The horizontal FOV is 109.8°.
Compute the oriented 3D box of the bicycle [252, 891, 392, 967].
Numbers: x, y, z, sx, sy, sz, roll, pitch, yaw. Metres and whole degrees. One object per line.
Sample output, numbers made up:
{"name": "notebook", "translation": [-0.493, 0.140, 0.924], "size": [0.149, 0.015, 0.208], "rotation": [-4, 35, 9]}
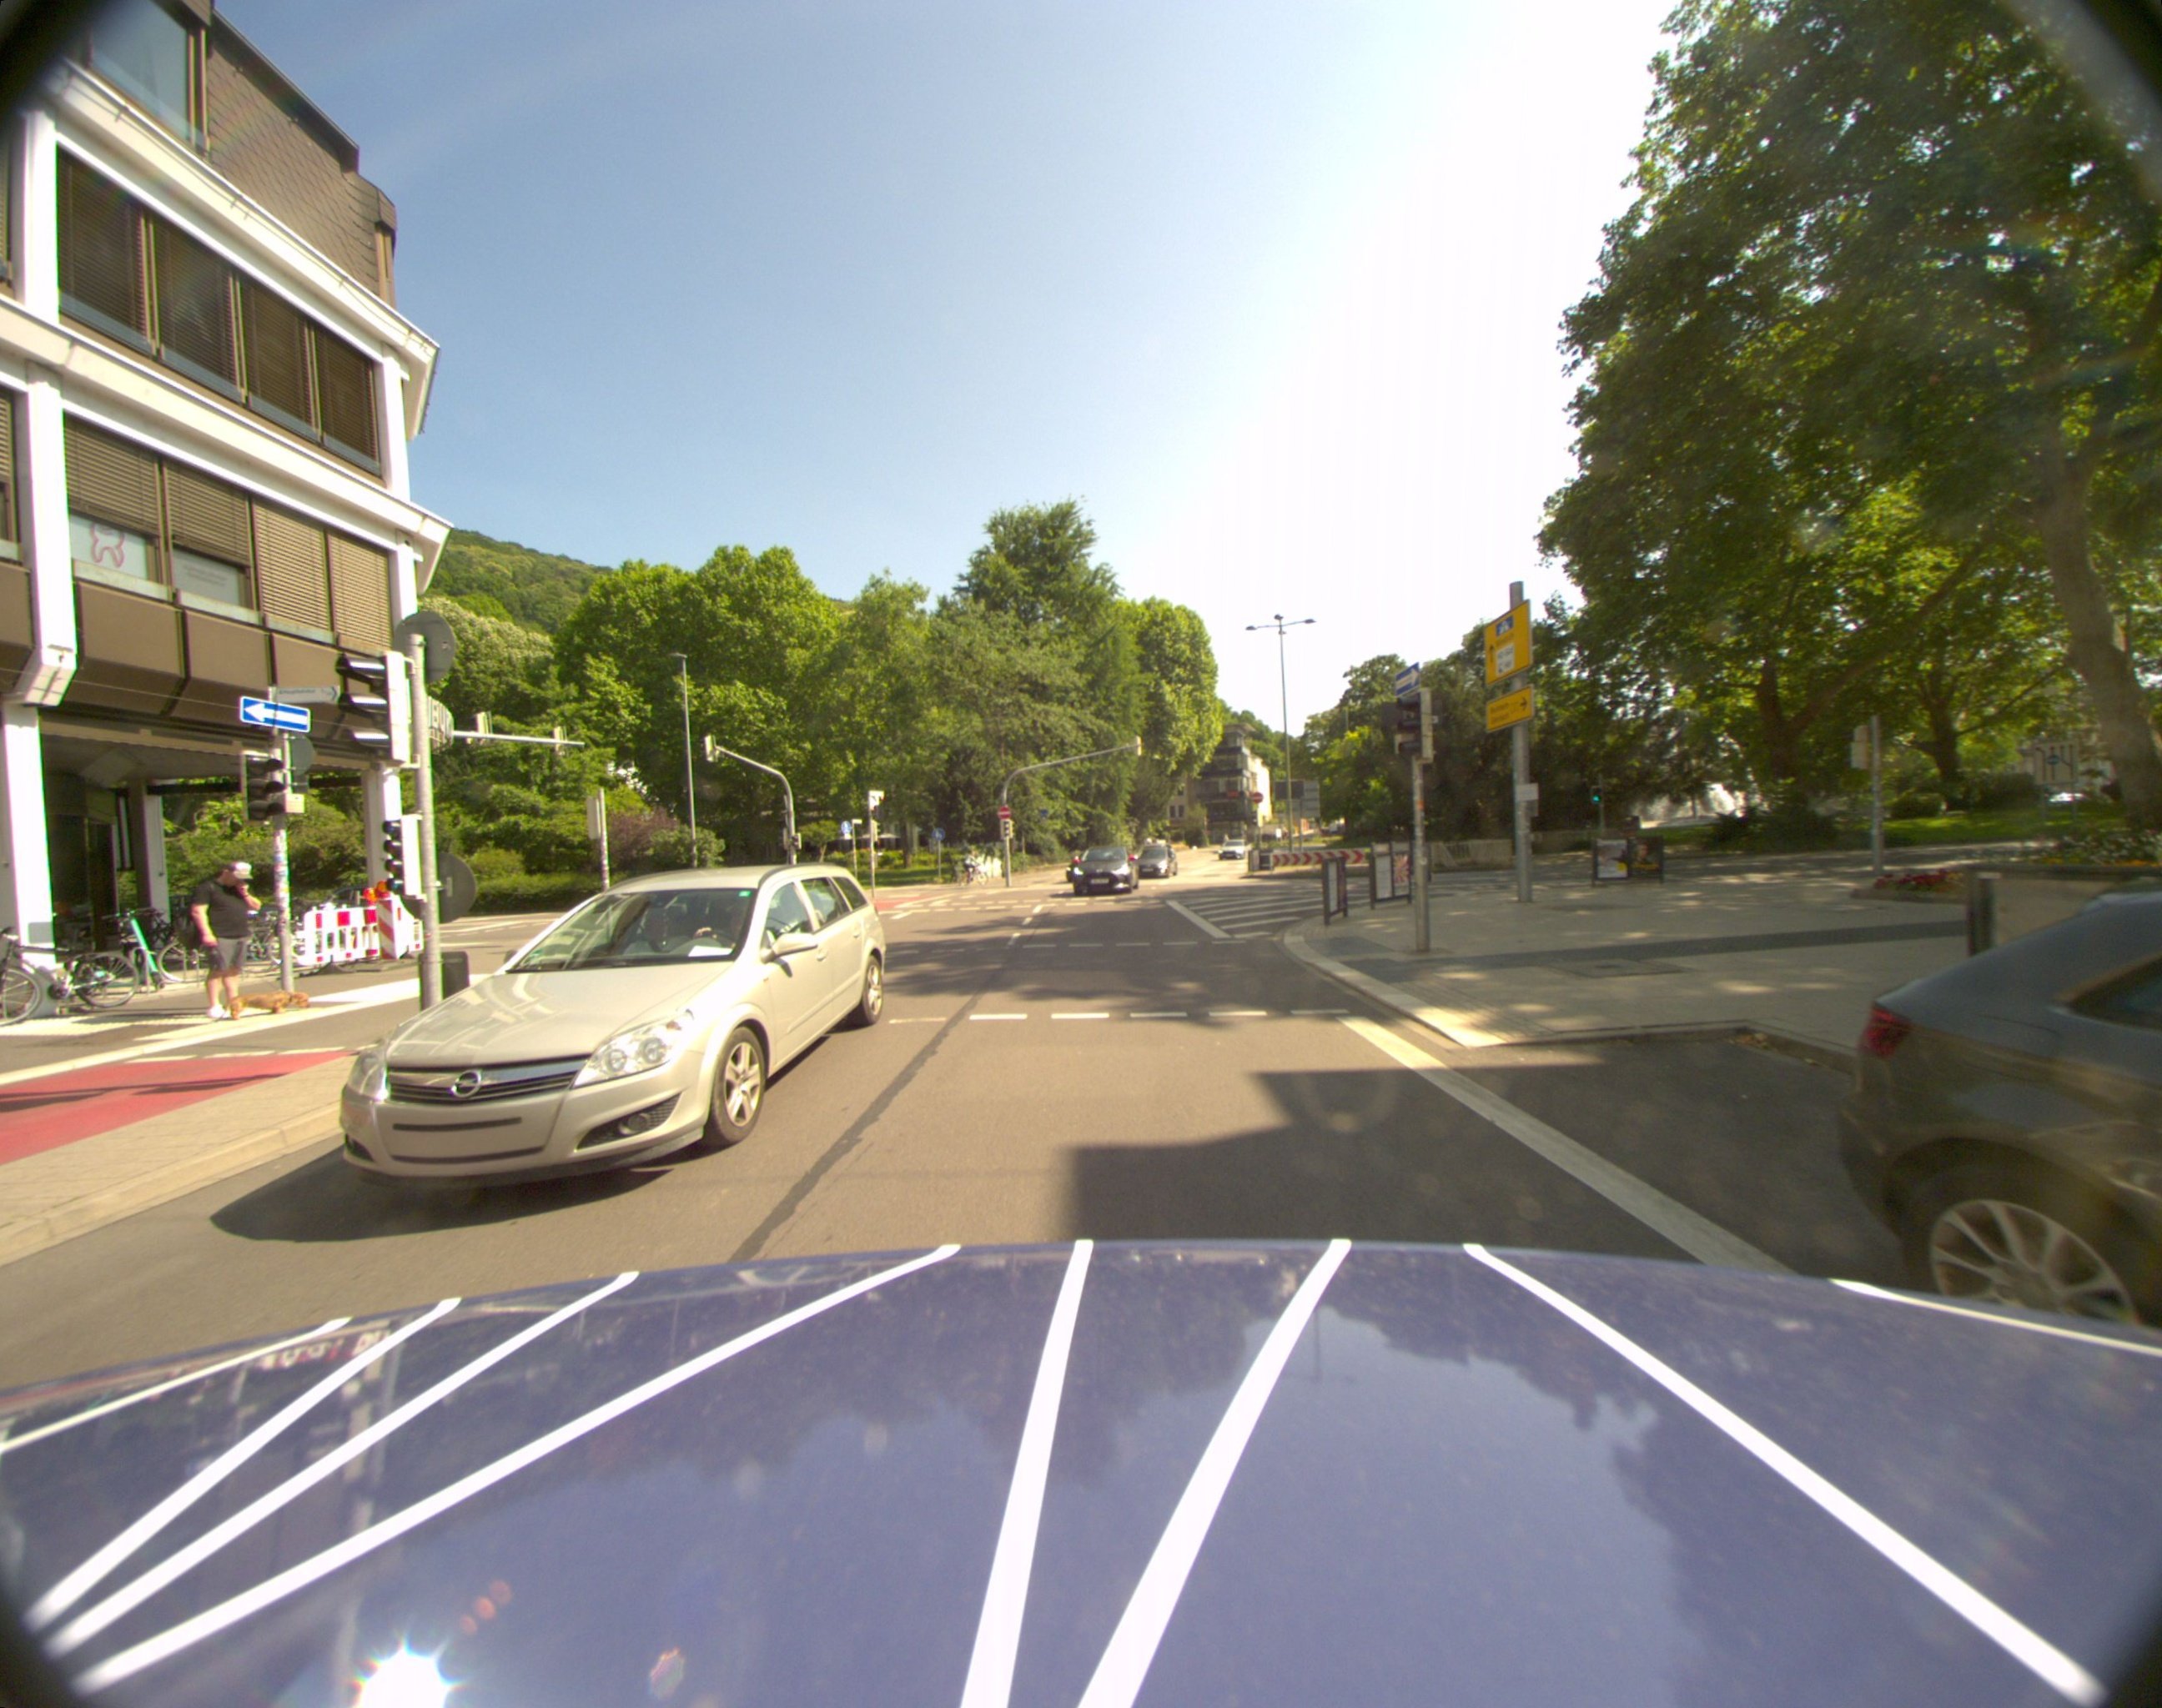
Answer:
{"name": "bicycle", "translation": [-15.086, 1.456, 15.178], "size": [1.862, 1.309, 0.529], "rotation": [-3, 1, -37]}

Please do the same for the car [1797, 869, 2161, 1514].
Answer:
{"name": "car", "translation": [3.275, 0.762, 0.369], "size": [1.941, 1.347, 4.249], "rotation": [-3, 1, 3]}

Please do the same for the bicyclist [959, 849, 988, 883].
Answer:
{"name": "bicyclist", "translation": [-5.159, 0.567, 36.466], "size": [0.945, 1.566, 0.865], "rotation": [-6, 4, -40]}

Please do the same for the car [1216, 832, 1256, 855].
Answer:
{"name": "car", "translation": [11.392, -0.812, 55.627], "size": [1.938, 1.421, 4.555], "rotation": [-2, 2, 23]}

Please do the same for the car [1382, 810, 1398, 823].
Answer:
{"name": "car", "translation": [45.107, -5.496, 110.891], "size": [1.848, 1.652, 4.004], "rotation": [-3, 2, 18]}

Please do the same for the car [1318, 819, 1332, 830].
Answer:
{"name": "car", "translation": [39.683, -4.799, 123.486], "size": [1.848, 1.777, 4.005], "rotation": [-3, 1, 21]}

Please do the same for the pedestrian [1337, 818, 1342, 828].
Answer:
{"name": "pedestrian", "translation": [43.010, -5.187, 126.485], "size": [0.601, 1.695, 0.605], "rotation": [-3, 2, 25]}

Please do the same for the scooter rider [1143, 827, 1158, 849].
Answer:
{"name": "scooter rider", "translation": [5.363, -1.244, 58.568], "size": [0.822, 1.663, 0.710], "rotation": [-2, 3, 26]}

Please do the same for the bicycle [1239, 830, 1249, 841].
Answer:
{"name": "bicycle", "translation": [18.080, -2.019, 84.243], "size": [0.758, 1.114, 2.003], "rotation": [-2, 3, 21]}

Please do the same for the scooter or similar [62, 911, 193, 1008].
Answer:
{"name": "scooter or similar", "translation": [-13.252, 1.457, 10.576], "size": [1.248, 1.225, 0.480], "rotation": [-3, 2, 7]}

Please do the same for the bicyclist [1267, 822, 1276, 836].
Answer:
{"name": "bicyclist", "translation": [22.712, -2.980, 90.625], "size": [0.709, 1.604, 0.733], "rotation": [-2, 3, 39]}

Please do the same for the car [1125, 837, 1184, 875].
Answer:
{"name": "car", "translation": [3.569, 0.052, 36.345], "size": [1.887, 1.674, 4.146], "rotation": [-1, 1, 18]}

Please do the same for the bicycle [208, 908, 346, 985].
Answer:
{"name": "bicycle", "translation": [-13.049, 1.472, 12.377], "size": [0.308, 1.059, 1.474], "rotation": [-1, 2, 37]}

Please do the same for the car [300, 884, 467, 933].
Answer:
{"name": "car", "translation": [-24.291, 1.895, 26.575], "size": [4.093, 1.355, 1.859], "rotation": [-3, 0, 1]}

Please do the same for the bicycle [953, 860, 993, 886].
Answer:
{"name": "bicycle", "translation": [-5.174, 0.891, 36.542], "size": [1.680, 1.114, 0.782], "rotation": [-5, 3, -41]}

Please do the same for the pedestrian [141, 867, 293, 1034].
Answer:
{"name": "pedestrian", "translation": [-10.067, 1.101, 8.885], "size": [0.834, 1.826, 0.697], "rotation": [-3, 3, 10]}

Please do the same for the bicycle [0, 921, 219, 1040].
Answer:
{"name": "bicycle", "translation": [-12.027, 1.497, 9.194], "size": [0.277, 1.114, 2.244], "rotation": [-3, 1, 9]}

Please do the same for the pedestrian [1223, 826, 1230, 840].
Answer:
{"name": "pedestrian", "translation": [18.197, -2.582, 94.813], "size": [0.710, 1.663, 0.535], "rotation": [-3, 2, 19]}

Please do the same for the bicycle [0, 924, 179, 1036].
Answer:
{"name": "bicycle", "translation": [-12.410, 1.519, 9.059], "size": [0.277, 1.114, 2.244], "rotation": [-3, 1, 9]}

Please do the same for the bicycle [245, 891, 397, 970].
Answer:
{"name": "bicycle", "translation": [-14.720, 1.454, 14.797], "size": [1.970, 1.309, 0.529], "rotation": [-3, 1, -37]}

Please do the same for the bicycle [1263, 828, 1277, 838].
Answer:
{"name": "bicycle", "translation": [22.611, -2.463, 90.669], "size": [0.709, 1.048, 2.211], "rotation": [-2, 2, 39]}

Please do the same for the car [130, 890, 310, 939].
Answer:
{"name": "car", "translation": [-29.914, 2.083, 26.500], "size": [4.094, 1.355, 1.859], "rotation": [-3, 0, 1]}

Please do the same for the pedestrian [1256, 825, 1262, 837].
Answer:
{"name": "pedestrian", "translation": [26.386, -3.431, 112.837], "size": [0.601, 1.695, 0.605], "rotation": [-3, 2, 27]}

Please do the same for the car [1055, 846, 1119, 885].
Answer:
{"name": "car", "translation": [0.347, 0.517, 36.398], "size": [1.846, 1.421, 4.215], "rotation": [-2, 4, 18]}

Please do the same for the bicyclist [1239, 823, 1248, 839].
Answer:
{"name": "bicyclist", "translation": [18.025, -2.560, 84.194], "size": [0.765, 1.627, 0.944], "rotation": [-2, 3, 20]}

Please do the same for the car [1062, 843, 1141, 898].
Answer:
{"name": "car", "translation": [0.702, 0.431, 22.776], "size": [1.809, 1.443, 3.956], "rotation": [-2, 1, 9]}

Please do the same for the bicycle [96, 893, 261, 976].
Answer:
{"name": "bicycle", "translation": [-17.753, 1.549, 15.023], "size": [1.970, 1.414, 0.529], "rotation": [-3, 1, -37]}

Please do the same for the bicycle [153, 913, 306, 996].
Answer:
{"name": "bicycle", "translation": [-12.944, 1.500, 11.607], "size": [1.474, 1.059, 0.376], "rotation": [-3, 2, -42]}

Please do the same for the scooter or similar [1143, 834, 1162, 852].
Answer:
{"name": "scooter or similar", "translation": [5.525, -0.851, 58.811], "size": [0.819, 1.291, 1.698], "rotation": [-2, 3, 27]}

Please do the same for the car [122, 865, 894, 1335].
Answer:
{"name": "car", "translation": [-2.668, 0.957, 5.044], "size": [1.712, 1.513, 4.405], "rotation": [-4, 1, -1]}

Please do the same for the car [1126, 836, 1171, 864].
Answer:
{"name": "car", "translation": [4.458, -0.278, 49.383], "size": [1.887, 1.674, 4.147], "rotation": [-1, 1, 20]}

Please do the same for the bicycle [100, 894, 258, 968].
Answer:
{"name": "bicycle", "translation": [-18.217, 1.522, 15.416], "size": [1.971, 1.413, 0.529], "rotation": [2, -2, -37]}
